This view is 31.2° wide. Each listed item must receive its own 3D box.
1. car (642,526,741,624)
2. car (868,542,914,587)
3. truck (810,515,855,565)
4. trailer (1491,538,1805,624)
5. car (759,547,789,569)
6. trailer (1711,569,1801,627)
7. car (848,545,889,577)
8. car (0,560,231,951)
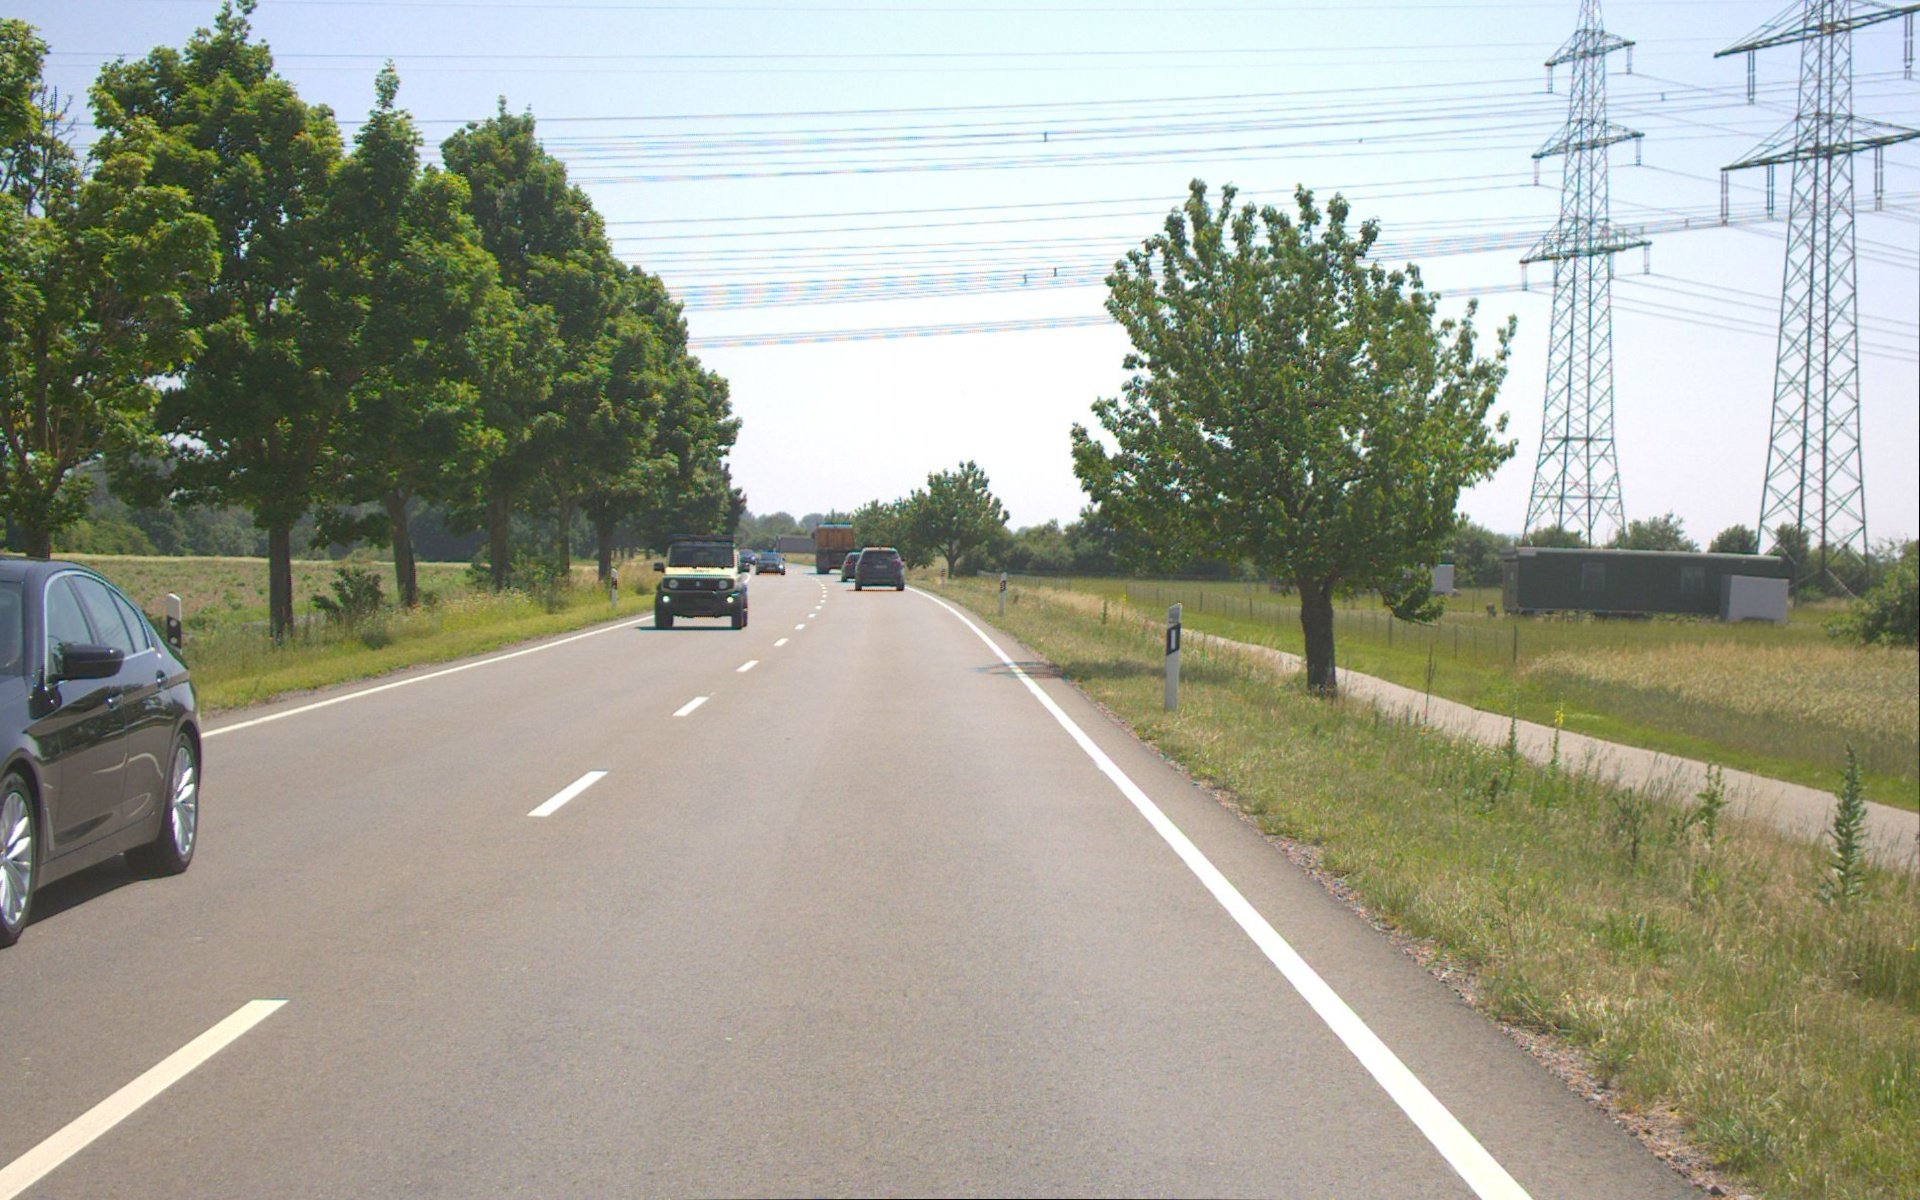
[{"bbox_3d":[-5.266,-0.513,67.838,1.681,1.842,4.000,1,1,-1],"label":"car"},{"bbox_3d":[-2.705,-1.369,133.613,1.714,1.688,3.989,1,1,-2],"label":"car"},{"bbox_3d":[-8.243,-3.861,221.871,2.370,3.129,8.749,1,1,-5],"label":"truck"},{"bbox_3d":[31.182,-0.881,156.085,13.508,3.463,3.277,2,1,-3],"label":"trailer"},{"bbox_3d":[-11.455,-2.598,211.864,1.705,1.328,4.000,1,1,-2],"label":"car"},{"bbox_3d":[35.549,-0.087,153.516,3.407,2.454,2.038,2,1,-3],"label":"trailer"},{"bbox_3d":[-4.566,-1.937,170.999,1.850,1.517,4.001,1,1,-4],"label":"car"},{"bbox_3d":[-4.410,0.540,14.289,1.822,1.415,4.589,1,1,-1],"label":"car"}]
